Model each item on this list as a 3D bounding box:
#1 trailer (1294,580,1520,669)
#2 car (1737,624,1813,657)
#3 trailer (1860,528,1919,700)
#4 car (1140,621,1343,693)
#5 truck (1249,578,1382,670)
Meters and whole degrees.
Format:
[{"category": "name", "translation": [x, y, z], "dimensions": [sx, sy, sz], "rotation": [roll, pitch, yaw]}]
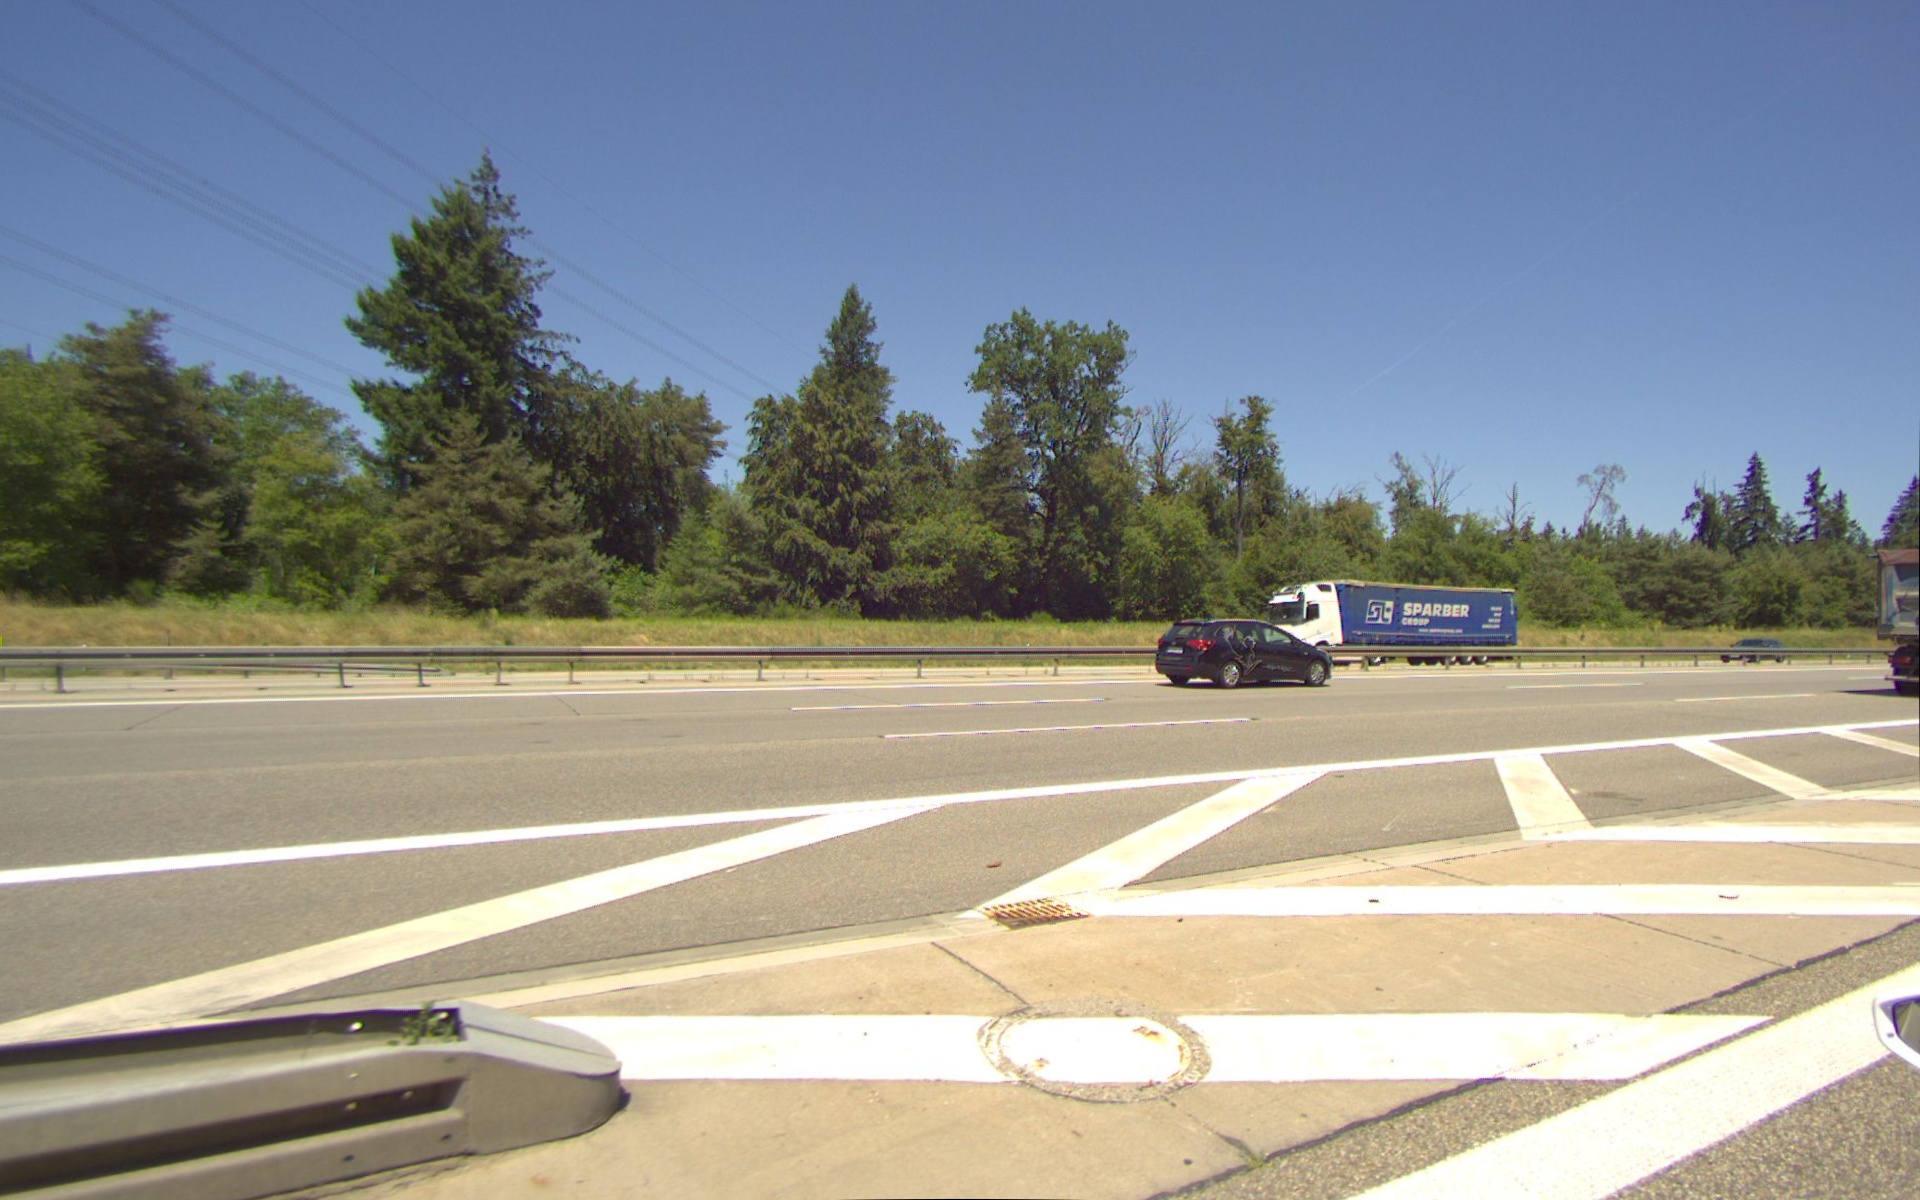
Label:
[{"category": "trailer", "translation": [23.597, 1.407, 52.537], "dimensions": [13.814, 4.227, 3.189], "rotation": [2, -3, -29]}, {"category": "car", "translation": [49.138, 2.424, 60.567], "dimensions": [4.451, 1.911, 1.986], "rotation": [1, -1, -28]}, {"category": "trailer", "translation": [25.313, 0.382, 24.199], "dimensions": [8.999, 3.808, 2.725], "rotation": [1, -1, -30]}, {"category": "car", "translation": [6.365, 1.225, 22.573], "dimensions": [4.540, 1.494, 1.696], "rotation": [1, -1, -29]}, {"category": "truck", "translation": [17.328, 1.220, 48.999], "dimensions": [5.654, 4.227, 3.189], "rotation": [2, -3, -29]}]
